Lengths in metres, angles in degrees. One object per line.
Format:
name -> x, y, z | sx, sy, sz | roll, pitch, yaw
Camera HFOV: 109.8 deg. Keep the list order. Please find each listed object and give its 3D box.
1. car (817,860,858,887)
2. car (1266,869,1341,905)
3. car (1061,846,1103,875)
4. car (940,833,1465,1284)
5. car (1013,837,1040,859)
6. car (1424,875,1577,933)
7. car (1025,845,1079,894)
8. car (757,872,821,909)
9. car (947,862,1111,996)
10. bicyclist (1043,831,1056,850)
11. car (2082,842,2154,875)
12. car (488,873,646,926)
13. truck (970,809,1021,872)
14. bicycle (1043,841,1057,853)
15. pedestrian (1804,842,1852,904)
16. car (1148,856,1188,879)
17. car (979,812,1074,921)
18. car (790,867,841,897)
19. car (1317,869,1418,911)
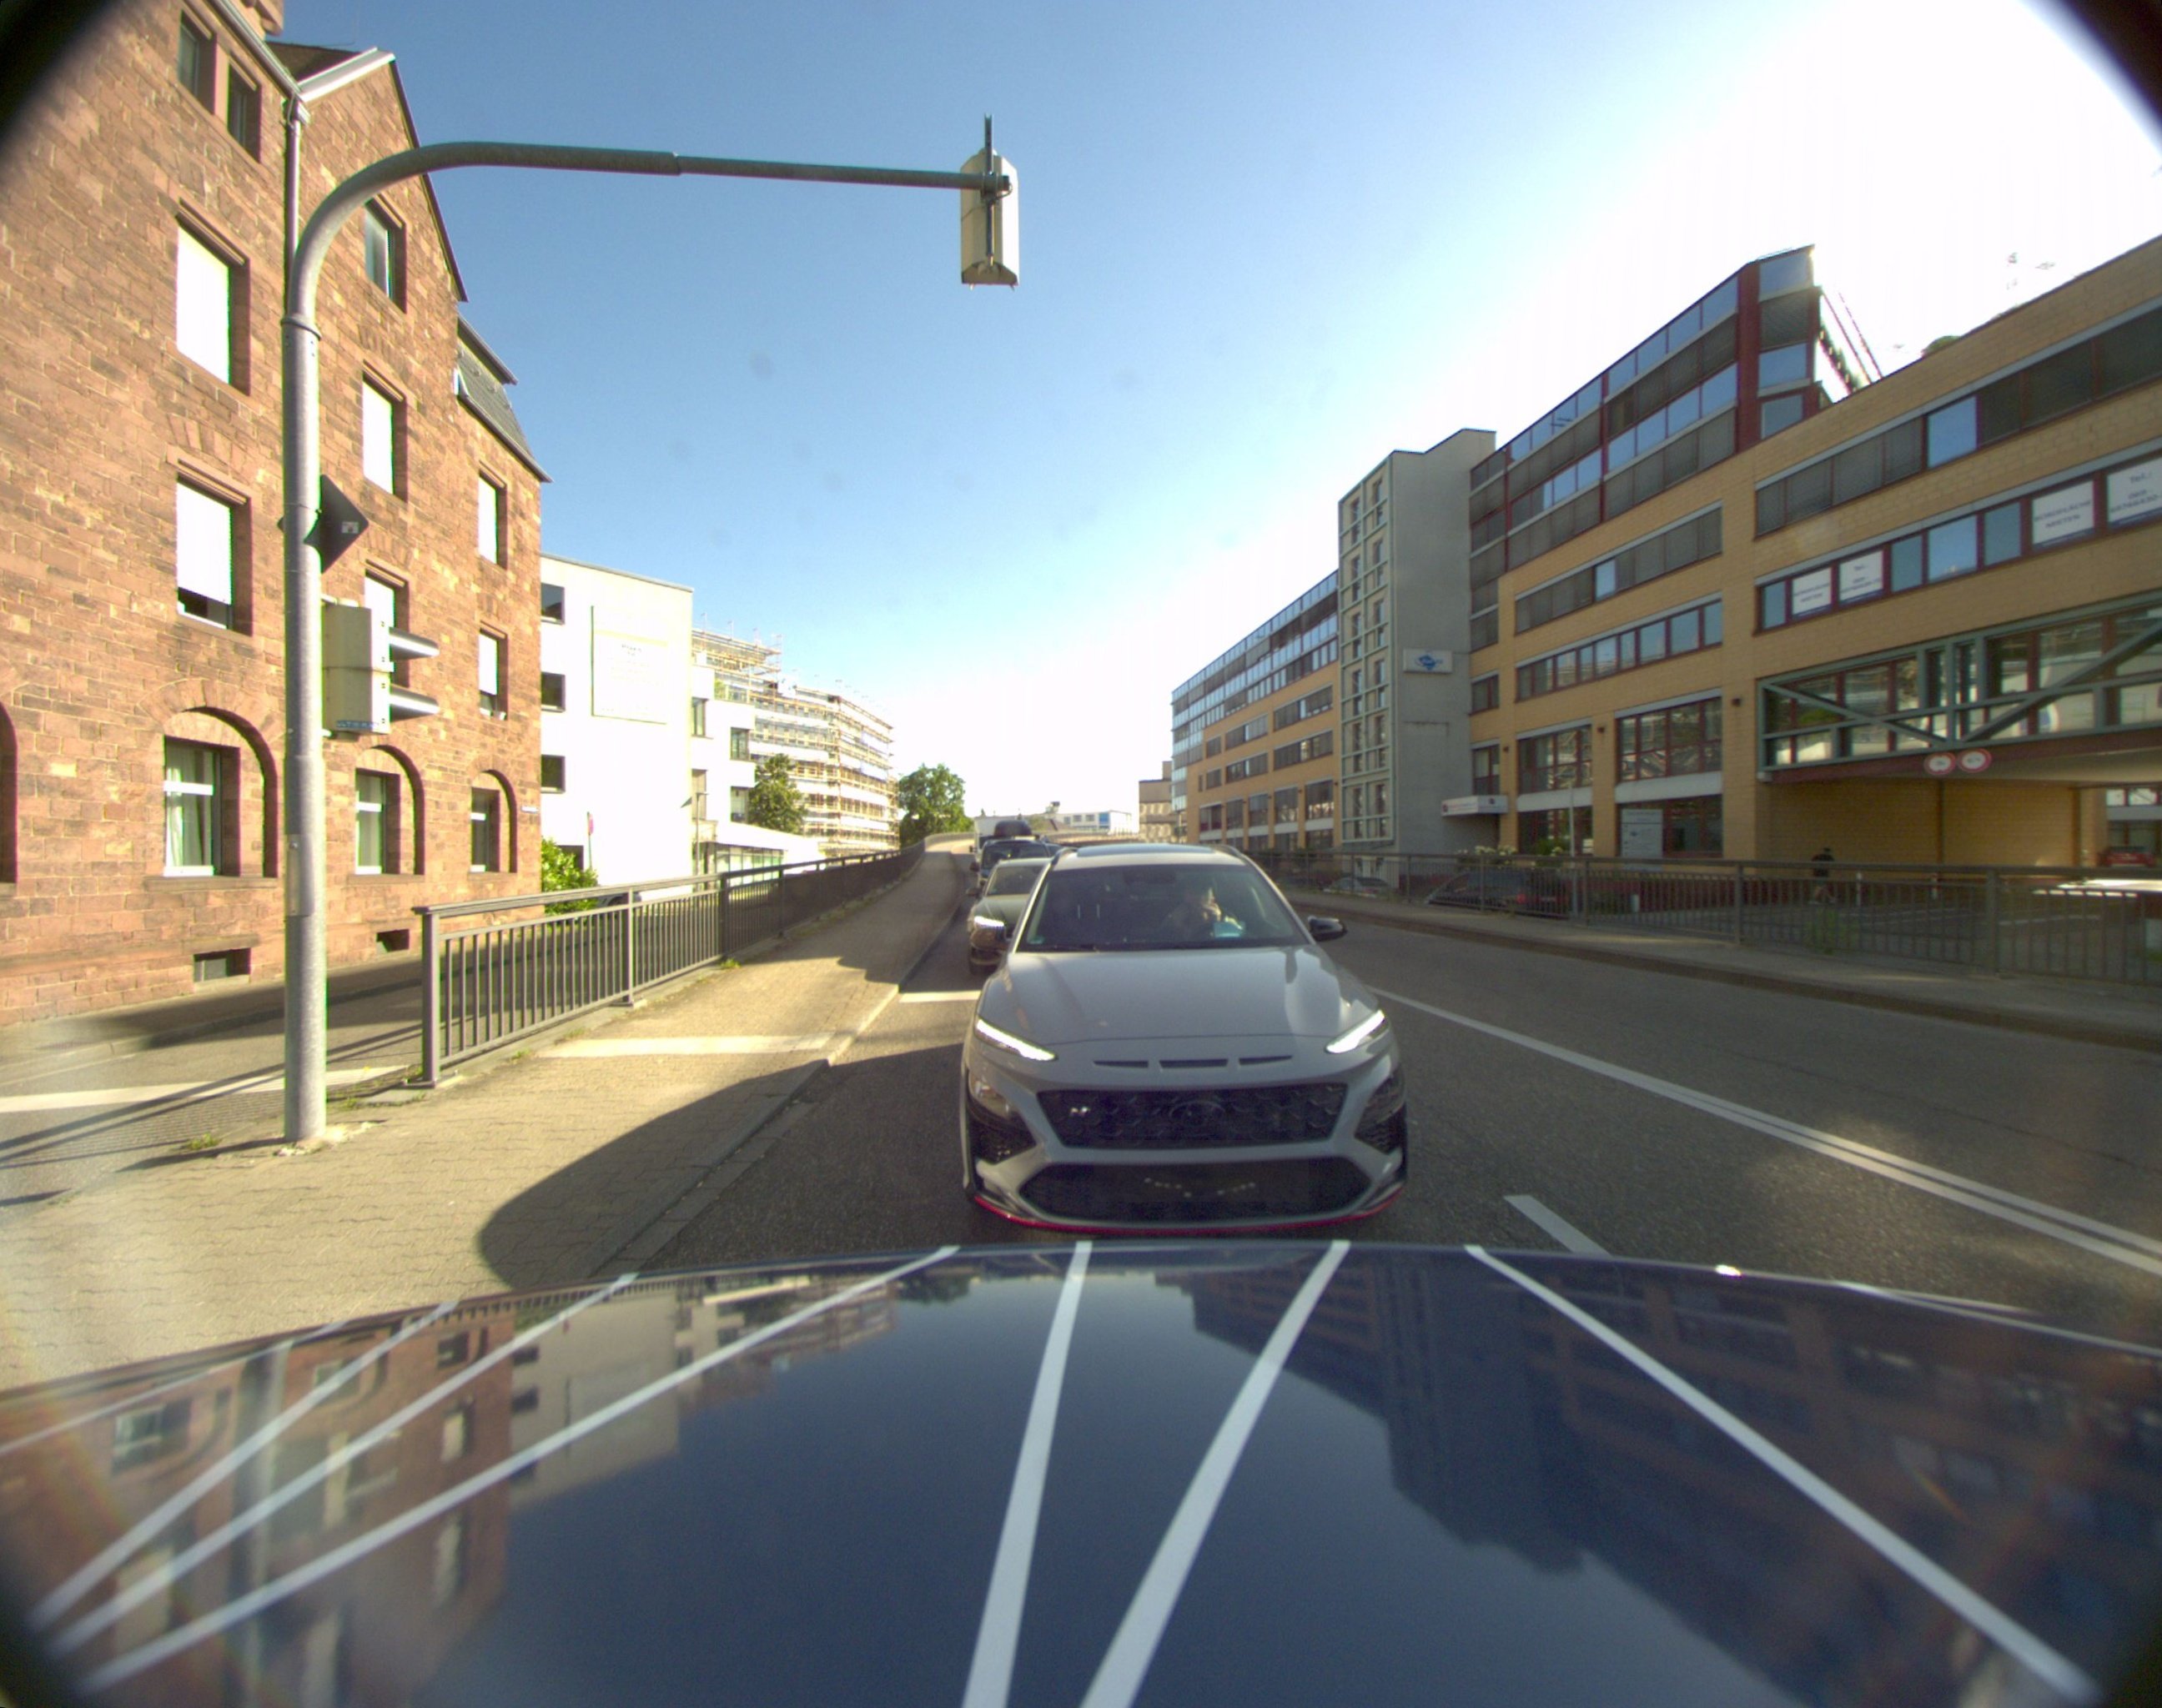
car -> -15.792, 1.236, 49.443 | 2.054, 1.676, 4.089 | -1, -1, -11
car -> 10.355, 1.515, 35.655 | 1.885, 1.554, 3.997 | 0, -1, -9
car -> 0.014, 0.383, 39.493 | 1.573, 1.399, 3.820 | -1, -1, -9
car -> 0.506, 0.747, 4.837 | 1.878, 1.612, 4.197 | 0, 0, 2
car -> -4.524, -0.476, 62.413 | 1.838, 1.745, 4.485 | 0, 1, -9
car -> 12.428, 1.414, 22.828 | 1.639, 1.514, 4.156 | 0, -1, -14
car -> -1.167, 0.571, 28.775 | 1.879, 1.699, 4.195 | 0, -1, -4
car -> -13.352, 1.630, 34.975 | 2.054, 1.522, 4.089 | -1, -1, -11
car -> -0.763, 0.887, 11.090 | 1.879, 1.462, 4.633 | 0, 0, -4
bicyclist -> -3.175, -1.381, 76.306 | 1.083, 1.861, 1.083 | -2, 1, -9
car -> 54.030, 0.227, 39.653 | 4.007, 1.512, 1.763 | -3, 1, -43
car -> -17.048, 1.449, 25.311 | 4.101, 1.522, 1.914 | 0, -1, -44
truck -> -4.649, -0.622, 41.105 | 2.504, 3.109, 6.956 | -1, -1, -7
bicycle -> -3.147, -0.703, 76.336 | 1.083, 1.223, 2.781 | -2, 1, -9
pedestrian -> 23.021, 0.582, 23.418 | 0.747, 1.840, 0.705 | -2, 0, -5
car -> 6.384, 0.972, 56.069 | 2.000, 1.499, 3.997 | -2, 1, -7
car -> -1.349, 0.294, 18.155 | 1.951, 2.248, 4.783 | 0, -1, -5
car -> -14.427, 1.491, 41.538 | 2.054, 1.522, 4.089 | -1, -1, -11
car -> 11.352, 1.380, 30.469 | 1.881, 1.514, 4.157 | 0, -1, -11
